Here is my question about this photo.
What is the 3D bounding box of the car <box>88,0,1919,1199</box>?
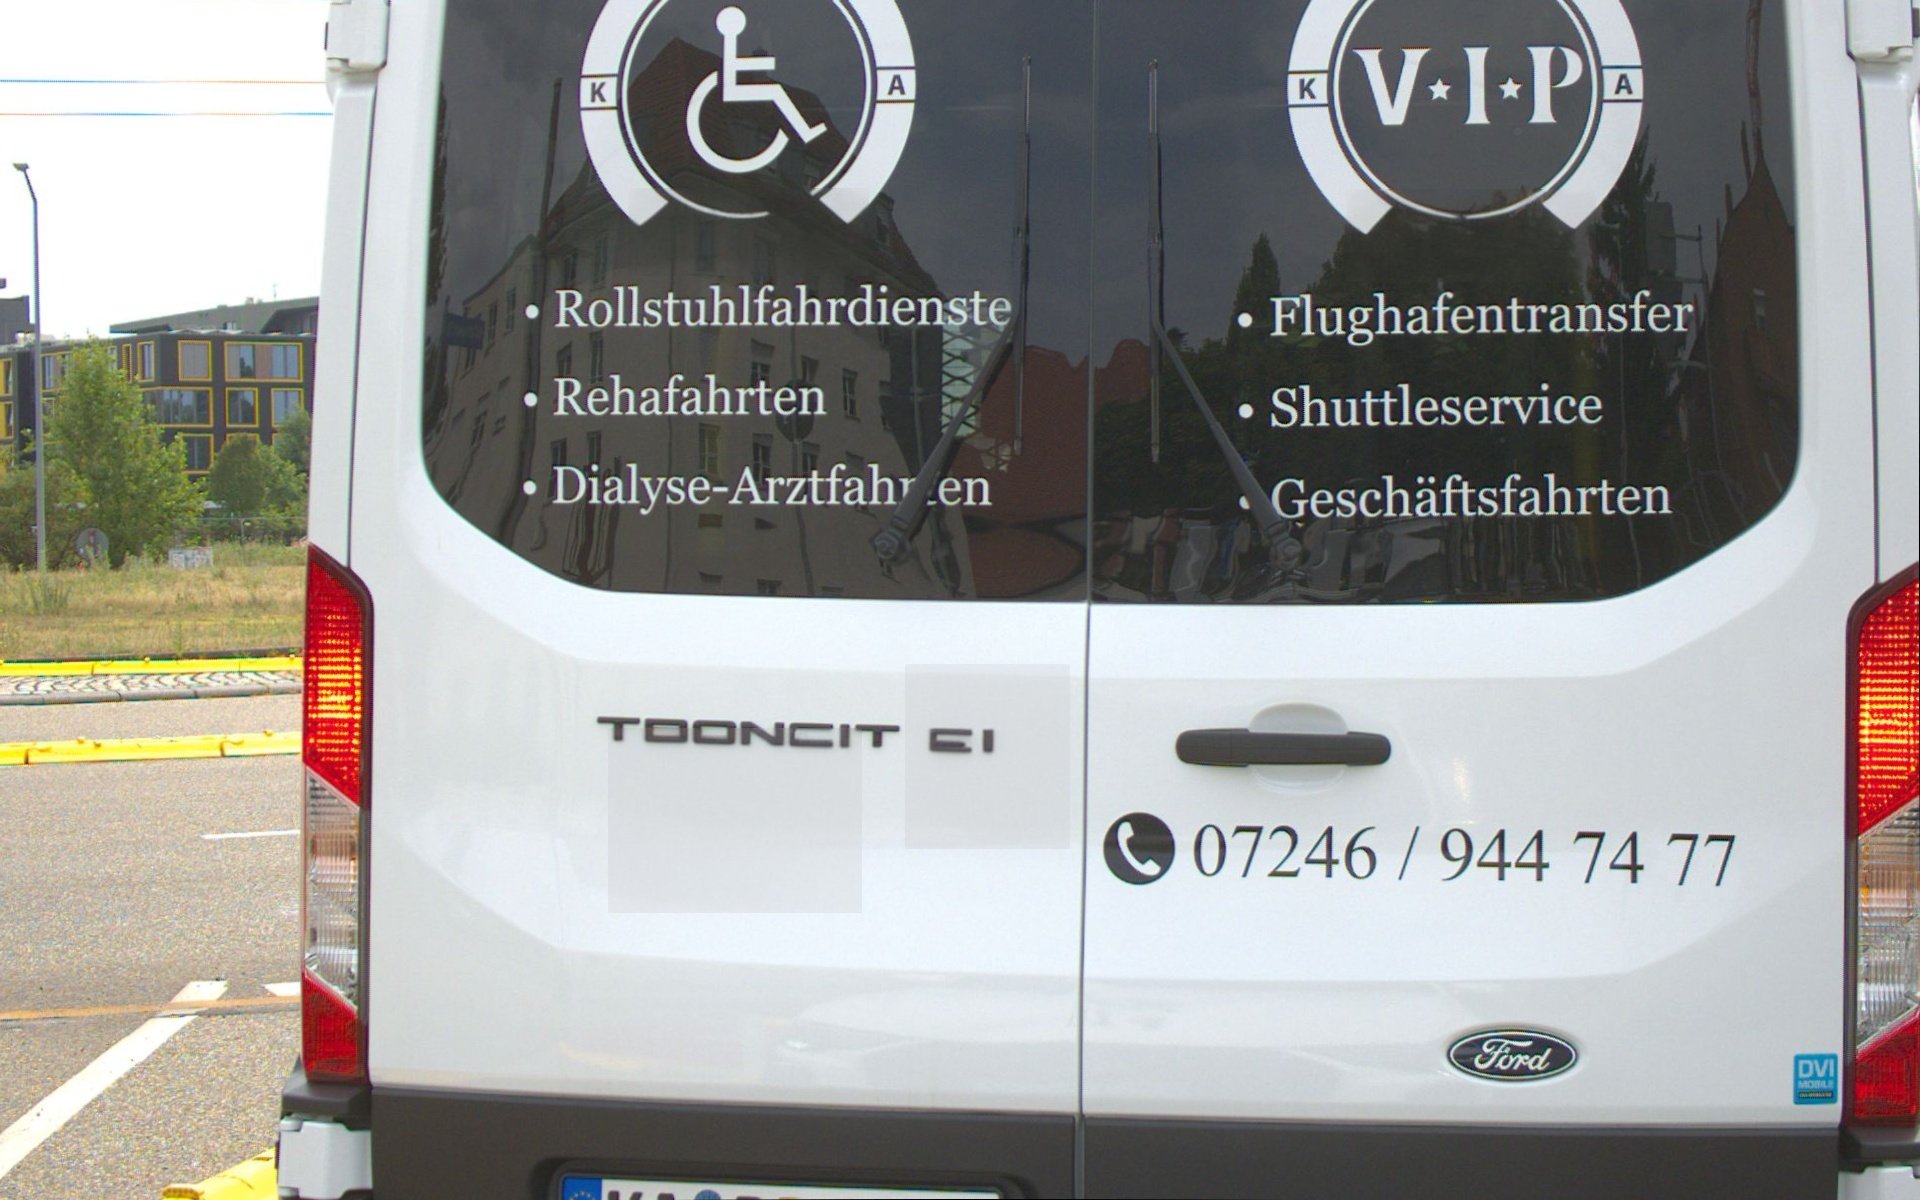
[{"bbox_3d":[0.462,-0.036,6.310,2.127,2.688,5.631,0,1,6],"label":"car"}]

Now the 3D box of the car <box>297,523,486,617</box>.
[{"bbox_3d":[-12.546,-0.660,76.063,1.997,2.007,3.993,0,0,31],"label":"car"}]

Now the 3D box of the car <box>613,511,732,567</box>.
[{"bbox_3d":[-7.687,-1.633,92.284,1.829,1.458,3.997,0,1,17],"label":"car"}]
